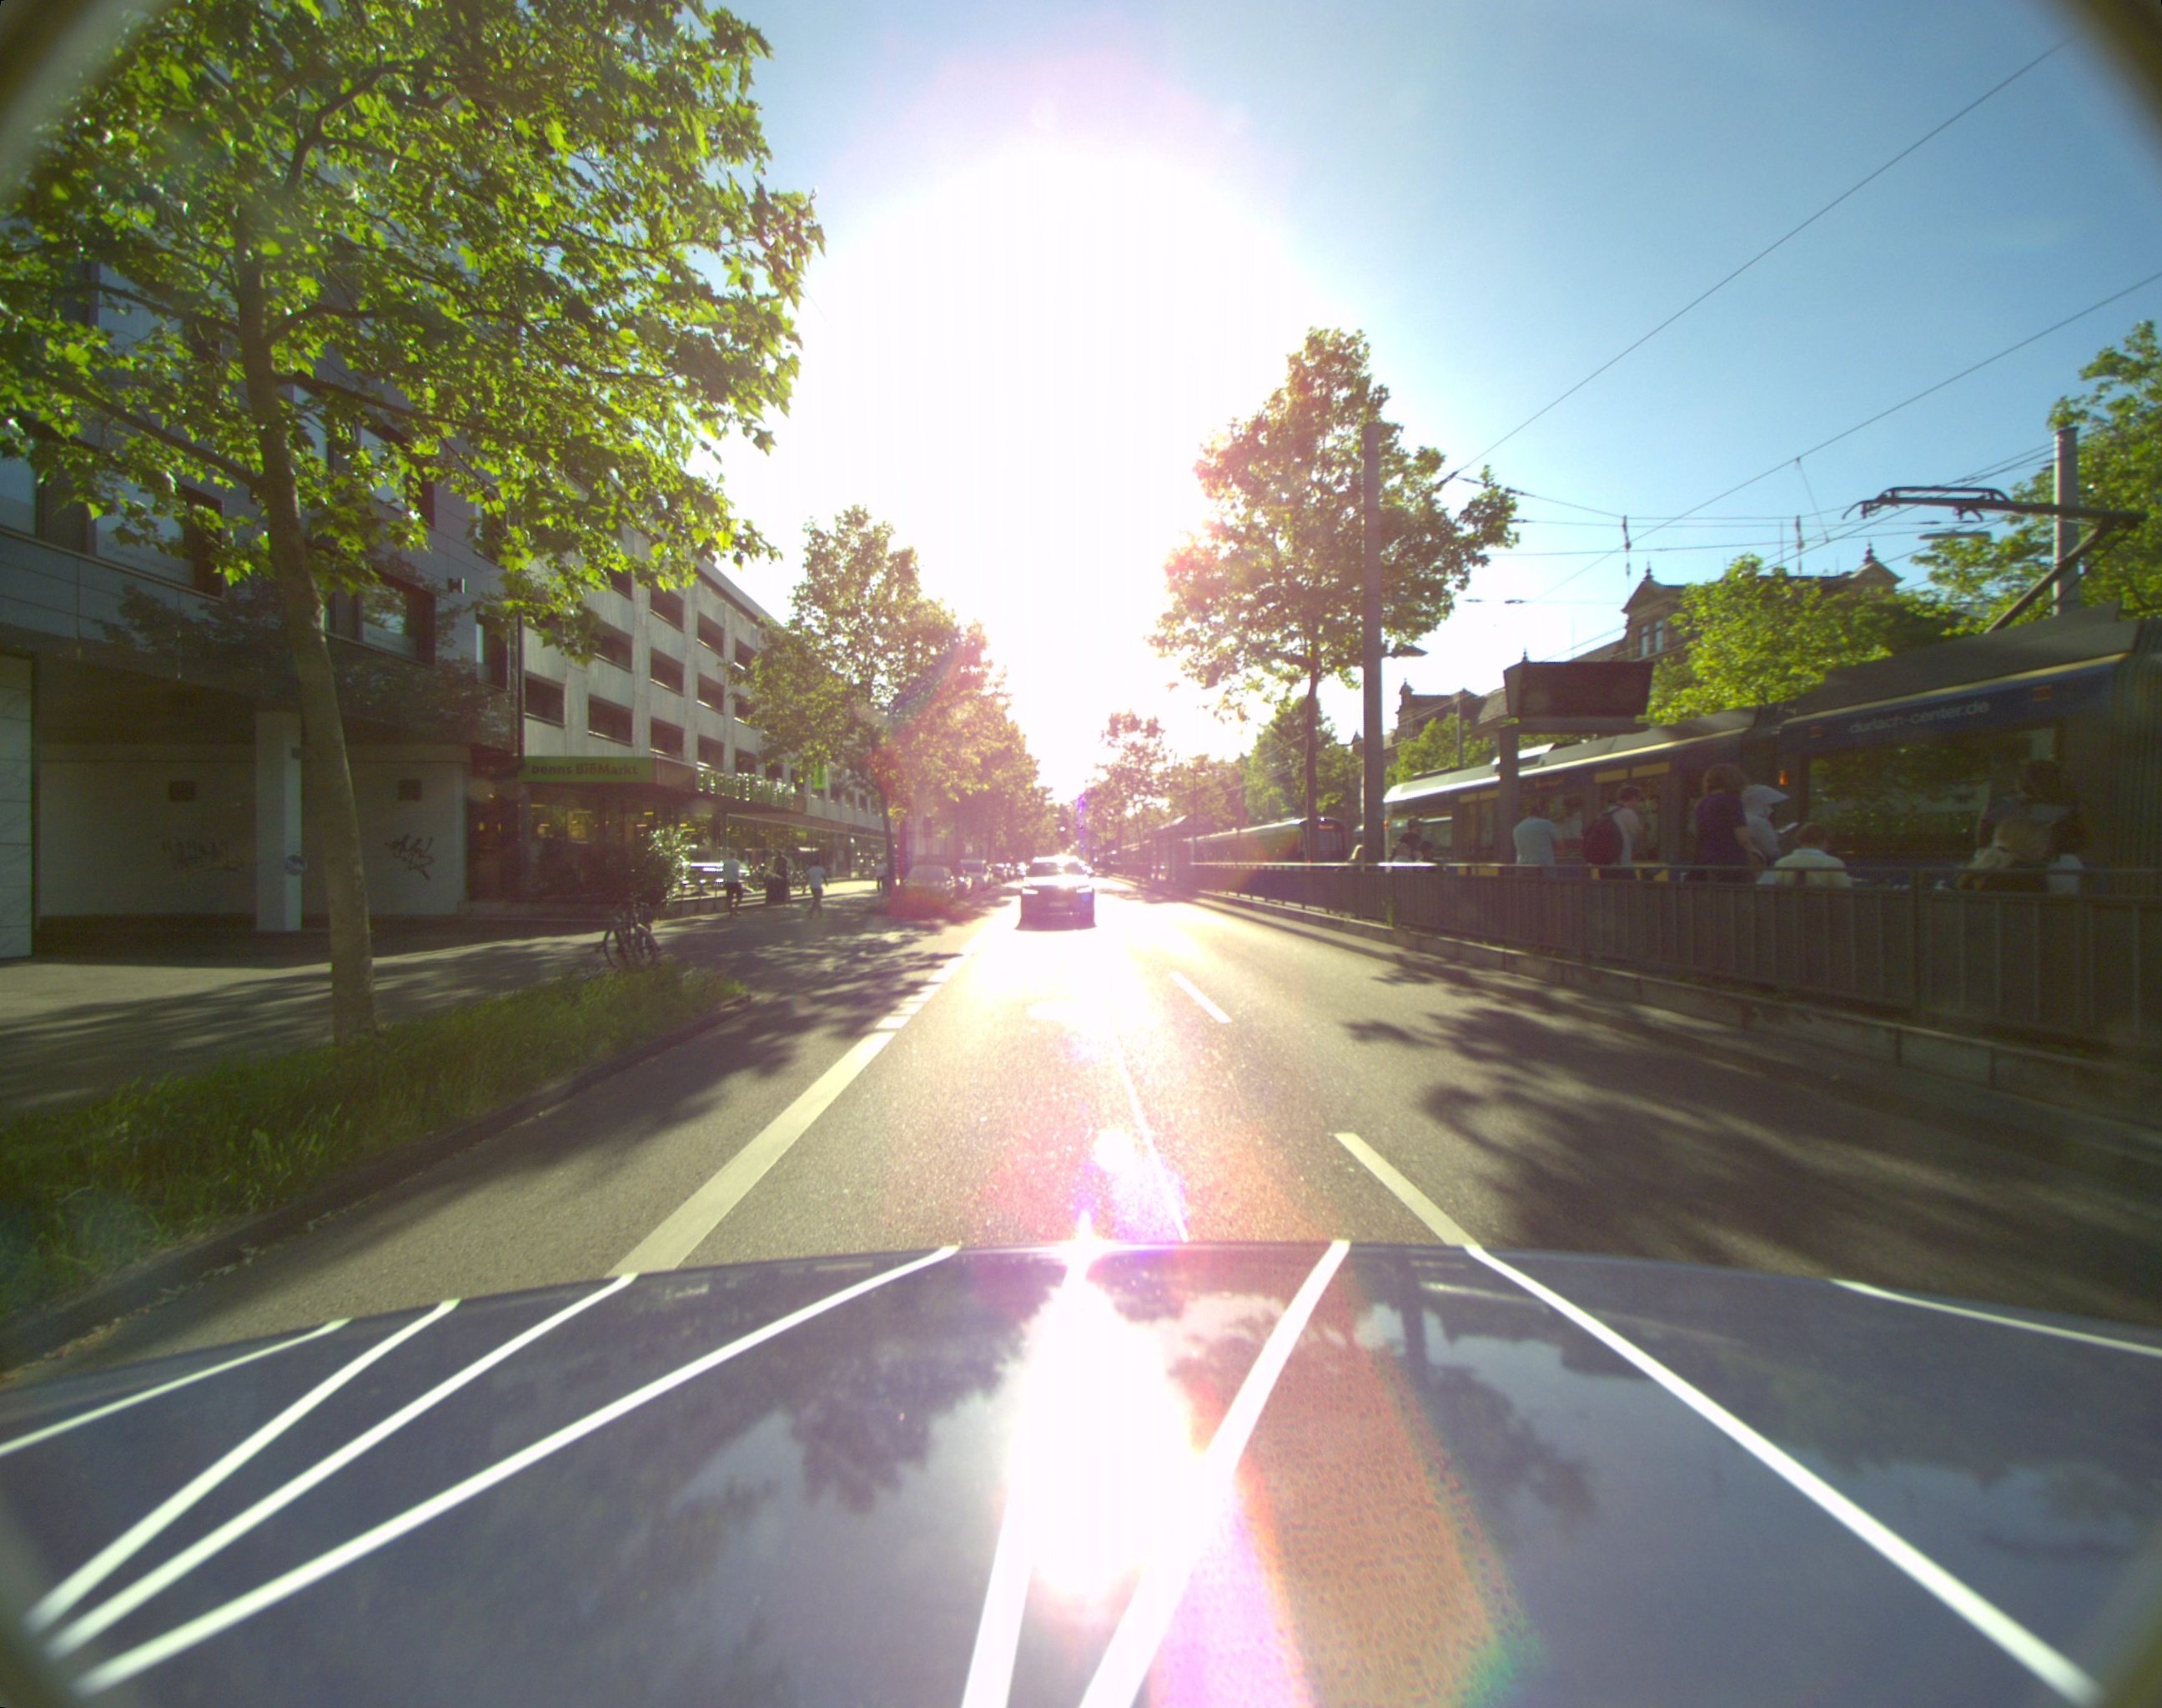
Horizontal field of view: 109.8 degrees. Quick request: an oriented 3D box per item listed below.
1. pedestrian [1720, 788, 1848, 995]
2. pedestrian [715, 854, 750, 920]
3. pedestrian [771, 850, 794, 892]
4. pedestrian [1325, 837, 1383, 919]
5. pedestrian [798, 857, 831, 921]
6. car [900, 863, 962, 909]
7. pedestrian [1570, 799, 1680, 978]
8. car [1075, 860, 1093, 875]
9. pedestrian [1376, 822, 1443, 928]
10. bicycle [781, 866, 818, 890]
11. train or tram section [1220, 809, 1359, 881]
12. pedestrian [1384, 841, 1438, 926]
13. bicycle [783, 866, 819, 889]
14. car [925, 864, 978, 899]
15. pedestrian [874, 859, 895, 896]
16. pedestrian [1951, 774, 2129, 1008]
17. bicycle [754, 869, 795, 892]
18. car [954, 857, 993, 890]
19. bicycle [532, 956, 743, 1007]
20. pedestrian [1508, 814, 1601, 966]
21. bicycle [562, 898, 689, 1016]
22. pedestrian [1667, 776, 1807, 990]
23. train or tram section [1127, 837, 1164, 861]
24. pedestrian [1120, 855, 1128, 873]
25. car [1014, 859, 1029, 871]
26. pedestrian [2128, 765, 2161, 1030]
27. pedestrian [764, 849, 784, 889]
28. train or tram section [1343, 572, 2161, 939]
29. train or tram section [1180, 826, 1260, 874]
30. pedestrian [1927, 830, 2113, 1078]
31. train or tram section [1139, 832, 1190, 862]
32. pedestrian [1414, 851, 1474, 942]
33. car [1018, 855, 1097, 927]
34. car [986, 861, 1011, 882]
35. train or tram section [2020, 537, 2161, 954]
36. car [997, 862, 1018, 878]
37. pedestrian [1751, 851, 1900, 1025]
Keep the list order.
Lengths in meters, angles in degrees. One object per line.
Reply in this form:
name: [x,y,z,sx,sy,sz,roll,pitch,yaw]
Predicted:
pedestrian: [6.049,0.312,6.566,0.516,1.698,0.621,0,0,-2]
pedestrian: [-9.421,0.874,20.578,0.561,1.734,0.878,0,0,-2]
pedestrian: [-12.169,0.695,30.992,0.559,1.668,0.882,2,0,-2]
pedestrian: [5.113,0.444,14.285,0.778,1.501,0.751,0,0,-5]
pedestrian: [-7.255,0.928,20.721,0.561,1.694,1.052,0,0,-2]
car: [-5.471,1.126,28.091,1.569,1.541,3.999,-1,0,-1]
pedestrian: [5.314,0.326,7.450,0.662,1.686,0.571,0,0,-1]
car: [0.253,1.301,75.090,1.707,1.407,3.875,-2,0,0]
pedestrian: [5.569,0.354,12.907,0.778,1.742,0.723,0,0,-5]
bicycle: [-13.448,1.150,36.251,1.700,1.049,0.587,2,-1,25]
train or tram section: [11.746,-0.369,45.804,2.856,3.414,18.212,-2,0,-2]
pedestrian: [5.104,0.448,11.784,0.535,1.291,0.604,0,0,-5]
bicycle: [-13.781,1.144,37.345,1.700,1.049,0.587,2,0,25]
car: [-5.808,1.191,34.668,1.766,1.409,4.699,-1,0,-2]
pedestrian: [-8.726,1.035,33.772,0.699,1.603,0.868,2,0,0]
pedestrian: [6.504,0.241,5.178,0.546,1.510,0.531,0,0,-2]
bicycle: [-13.074,1.123,32.414,1.647,0.910,0.587,2,-3,25]
car: [-6.181,1.083,44.122,1.769,1.781,4.392,0,0,-1]
bicycle: [-4.977,1.435,8.695,1.613,0.351,1.389,0,0,-2]
pedestrian: [5.229,0.385,8.418,0.662,1.624,0.571,0,0,-1]
bicycle: [-5.273,1.136,8.934,0.791,1.126,1.844,0,0,-14]
pedestrian: [5.384,0.232,6.266,0.662,1.686,0.571,0,0,-1]
train or tram section: [7.189,-0.489,86.889,2.569,2.516,15.070,-1,0,-2]
pedestrian: [4.037,0.944,70.959,0.701,1.626,0.761,-1,0,-2]
car: [-7.923,1.493,101.361,1.839,1.555,4.273,-1,0,-2]
pedestrian: [7.020,0.268,4.565,0.620,1.640,0.622,0,0,-6]
pedestrian: [-13.643,0.665,33.795,0.614,1.705,0.611,6,-1,-26]
train or tram section: [9.589,-1.015,14.801,2.922,3.241,15.887,-2,1,-2]
train or tram section: [11.239,-0.251,64.055,2.878,3.414,18.273,-2,0,-2]
pedestrian: [5.247,0.530,4.271,0.417,1.308,0.507,0,0,-4]
train or tram section: [7.619,-0.548,71.539,2.569,2.549,15.672,-1,0,-2]
pedestrian: [5.112,0.584,10.730,0.535,1.239,0.604,0,0,-4]
car: [-0.644,0.904,20.748,1.914,1.695,4.272,-1,0,-2]
car: [-6.438,1.358,59.826,1.677,1.430,3.689,2,0,-3]
train or tram section: [10.075,-0.818,0.292,2.922,3.241,13.108,-2,1,-2]
car: [-6.824,1.448,70.678,1.630,1.433,3.929,1,0,-2]
pedestrian: [5.316,0.572,5.450,0.546,1.185,0.531,0,0,-2]
